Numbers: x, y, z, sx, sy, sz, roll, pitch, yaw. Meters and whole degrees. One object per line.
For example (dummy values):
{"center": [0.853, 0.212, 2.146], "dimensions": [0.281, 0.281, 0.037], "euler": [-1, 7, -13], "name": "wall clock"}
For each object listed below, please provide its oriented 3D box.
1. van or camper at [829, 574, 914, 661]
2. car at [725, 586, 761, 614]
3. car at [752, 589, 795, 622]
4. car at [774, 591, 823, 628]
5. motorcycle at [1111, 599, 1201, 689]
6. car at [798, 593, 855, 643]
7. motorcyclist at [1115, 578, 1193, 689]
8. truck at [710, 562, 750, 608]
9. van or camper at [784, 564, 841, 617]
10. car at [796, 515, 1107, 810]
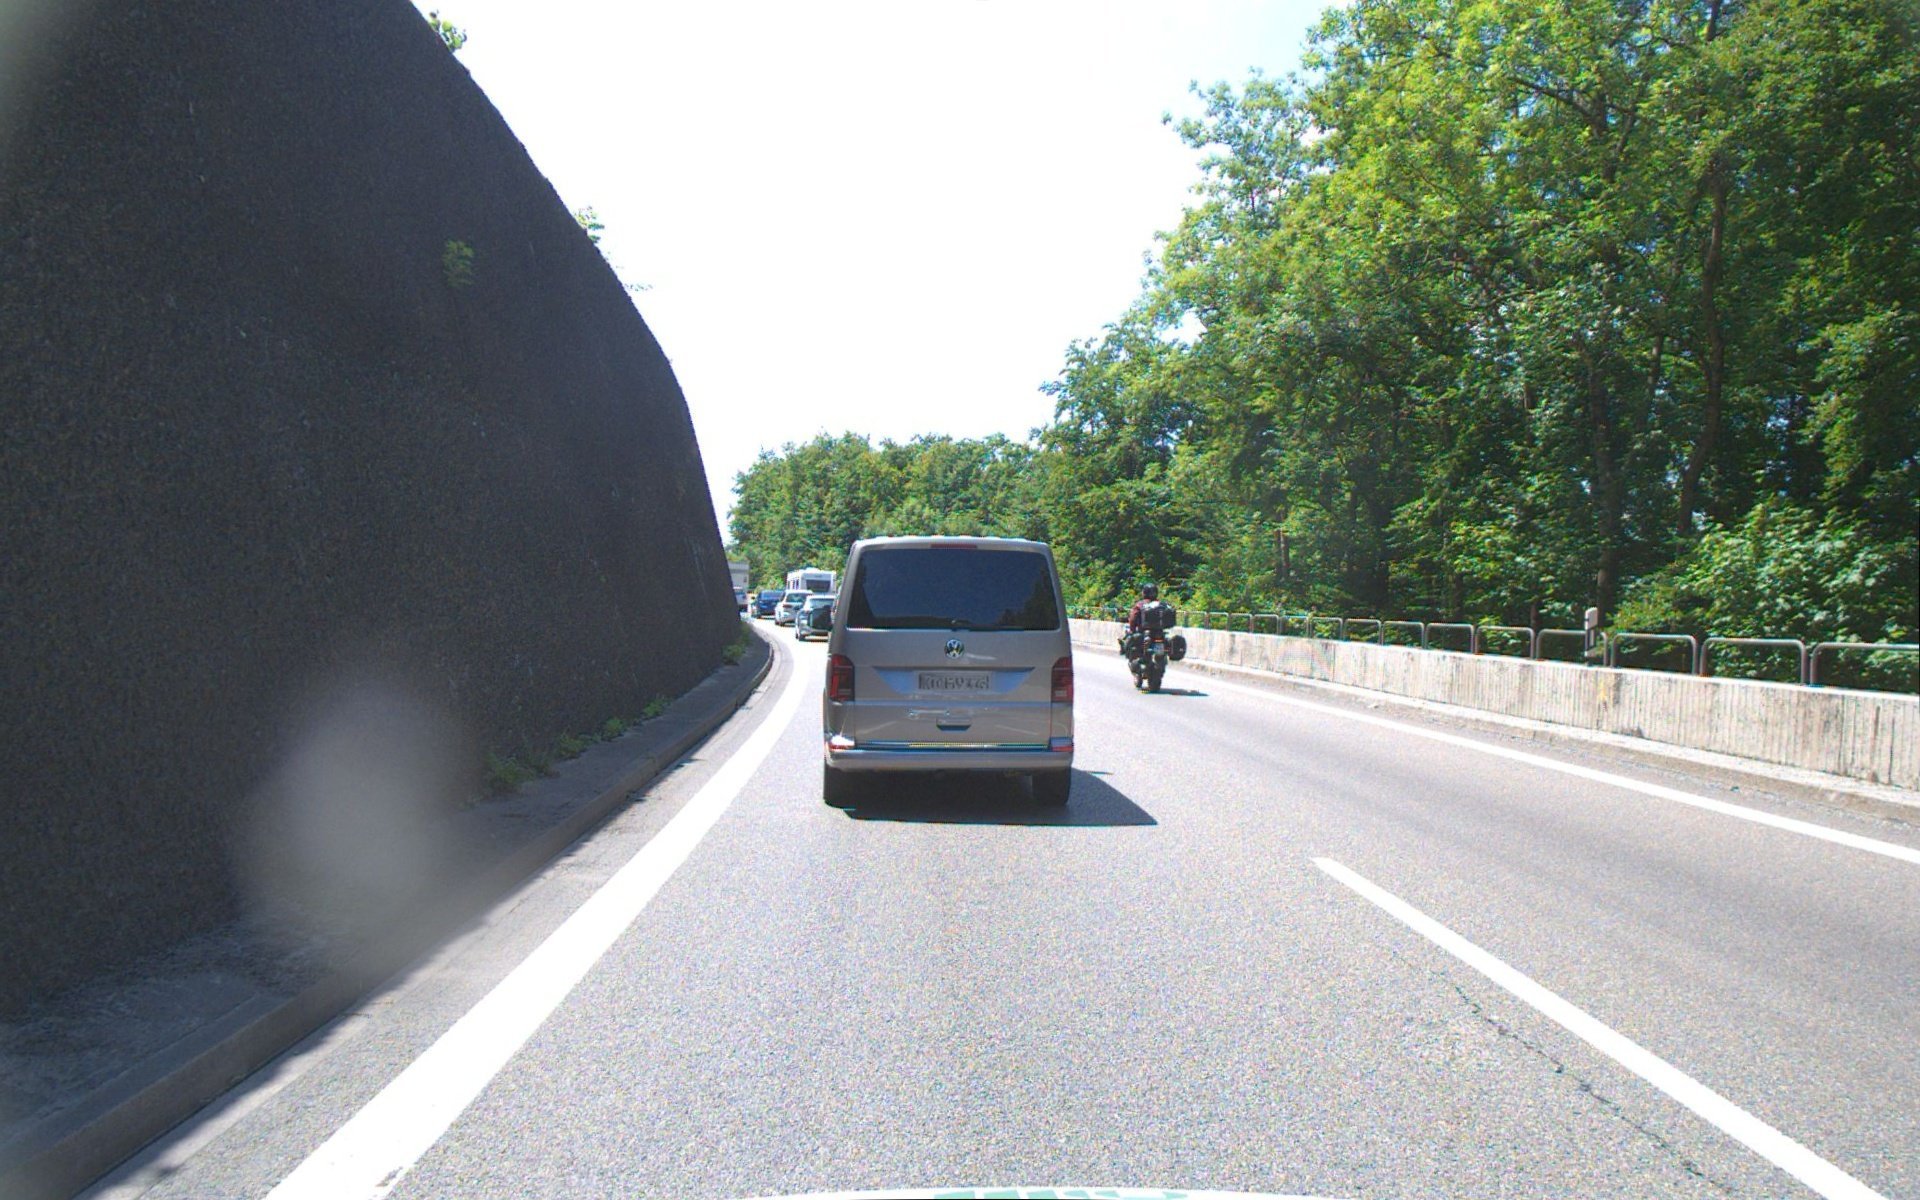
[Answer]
{"center": [-2.192, 0.409, 40.086], "dimensions": [1.818, 1.976, 4.160], "euler": [1, 0, -6], "name": "van or camper"}
{"center": [-13.228, -0.027, 100.650], "dimensions": [1.958, 1.646, 3.989], "euler": [1, 0, -11], "name": "car"}
{"center": [-9.615, 0.264, 85.035], "dimensions": [1.825, 1.648, 3.989], "euler": [1, 0, -11], "name": "car"}
{"center": [-7.029, 0.399, 71.863], "dimensions": [1.829, 1.512, 3.991], "euler": [1, 0, -10], "name": "car"}
{"center": [3.342, 0.727, 28.445], "dimensions": [0.954, 1.444, 2.677], "euler": [1, 0, -6], "name": "motorcycle"}
{"center": [-4.262, 0.544, 52.957], "dimensions": [1.737, 1.498, 3.996], "euler": [1, 0, -4], "name": "car"}
{"center": [3.312, 0.553, 28.315], "dimensions": [1.040, 1.832, 1.336], "euler": [1, 0, -5], "name": "motorcyclist"}
{"center": [-19.735, -1.264, 141.754], "dimensions": [2.873, 3.751, 7.703], "euler": [2, 0, -11], "name": "truck"}
{"center": [-9.121, -0.632, 101.500], "dimensions": [2.558, 2.904, 6.318], "euler": [5, 0, -11], "name": "van or camper"}
{"center": [-0.272, 0.430, 13.620], "dimensions": [1.904, 1.965, 4.686], "euler": [2, 0, -8], "name": "car"}
